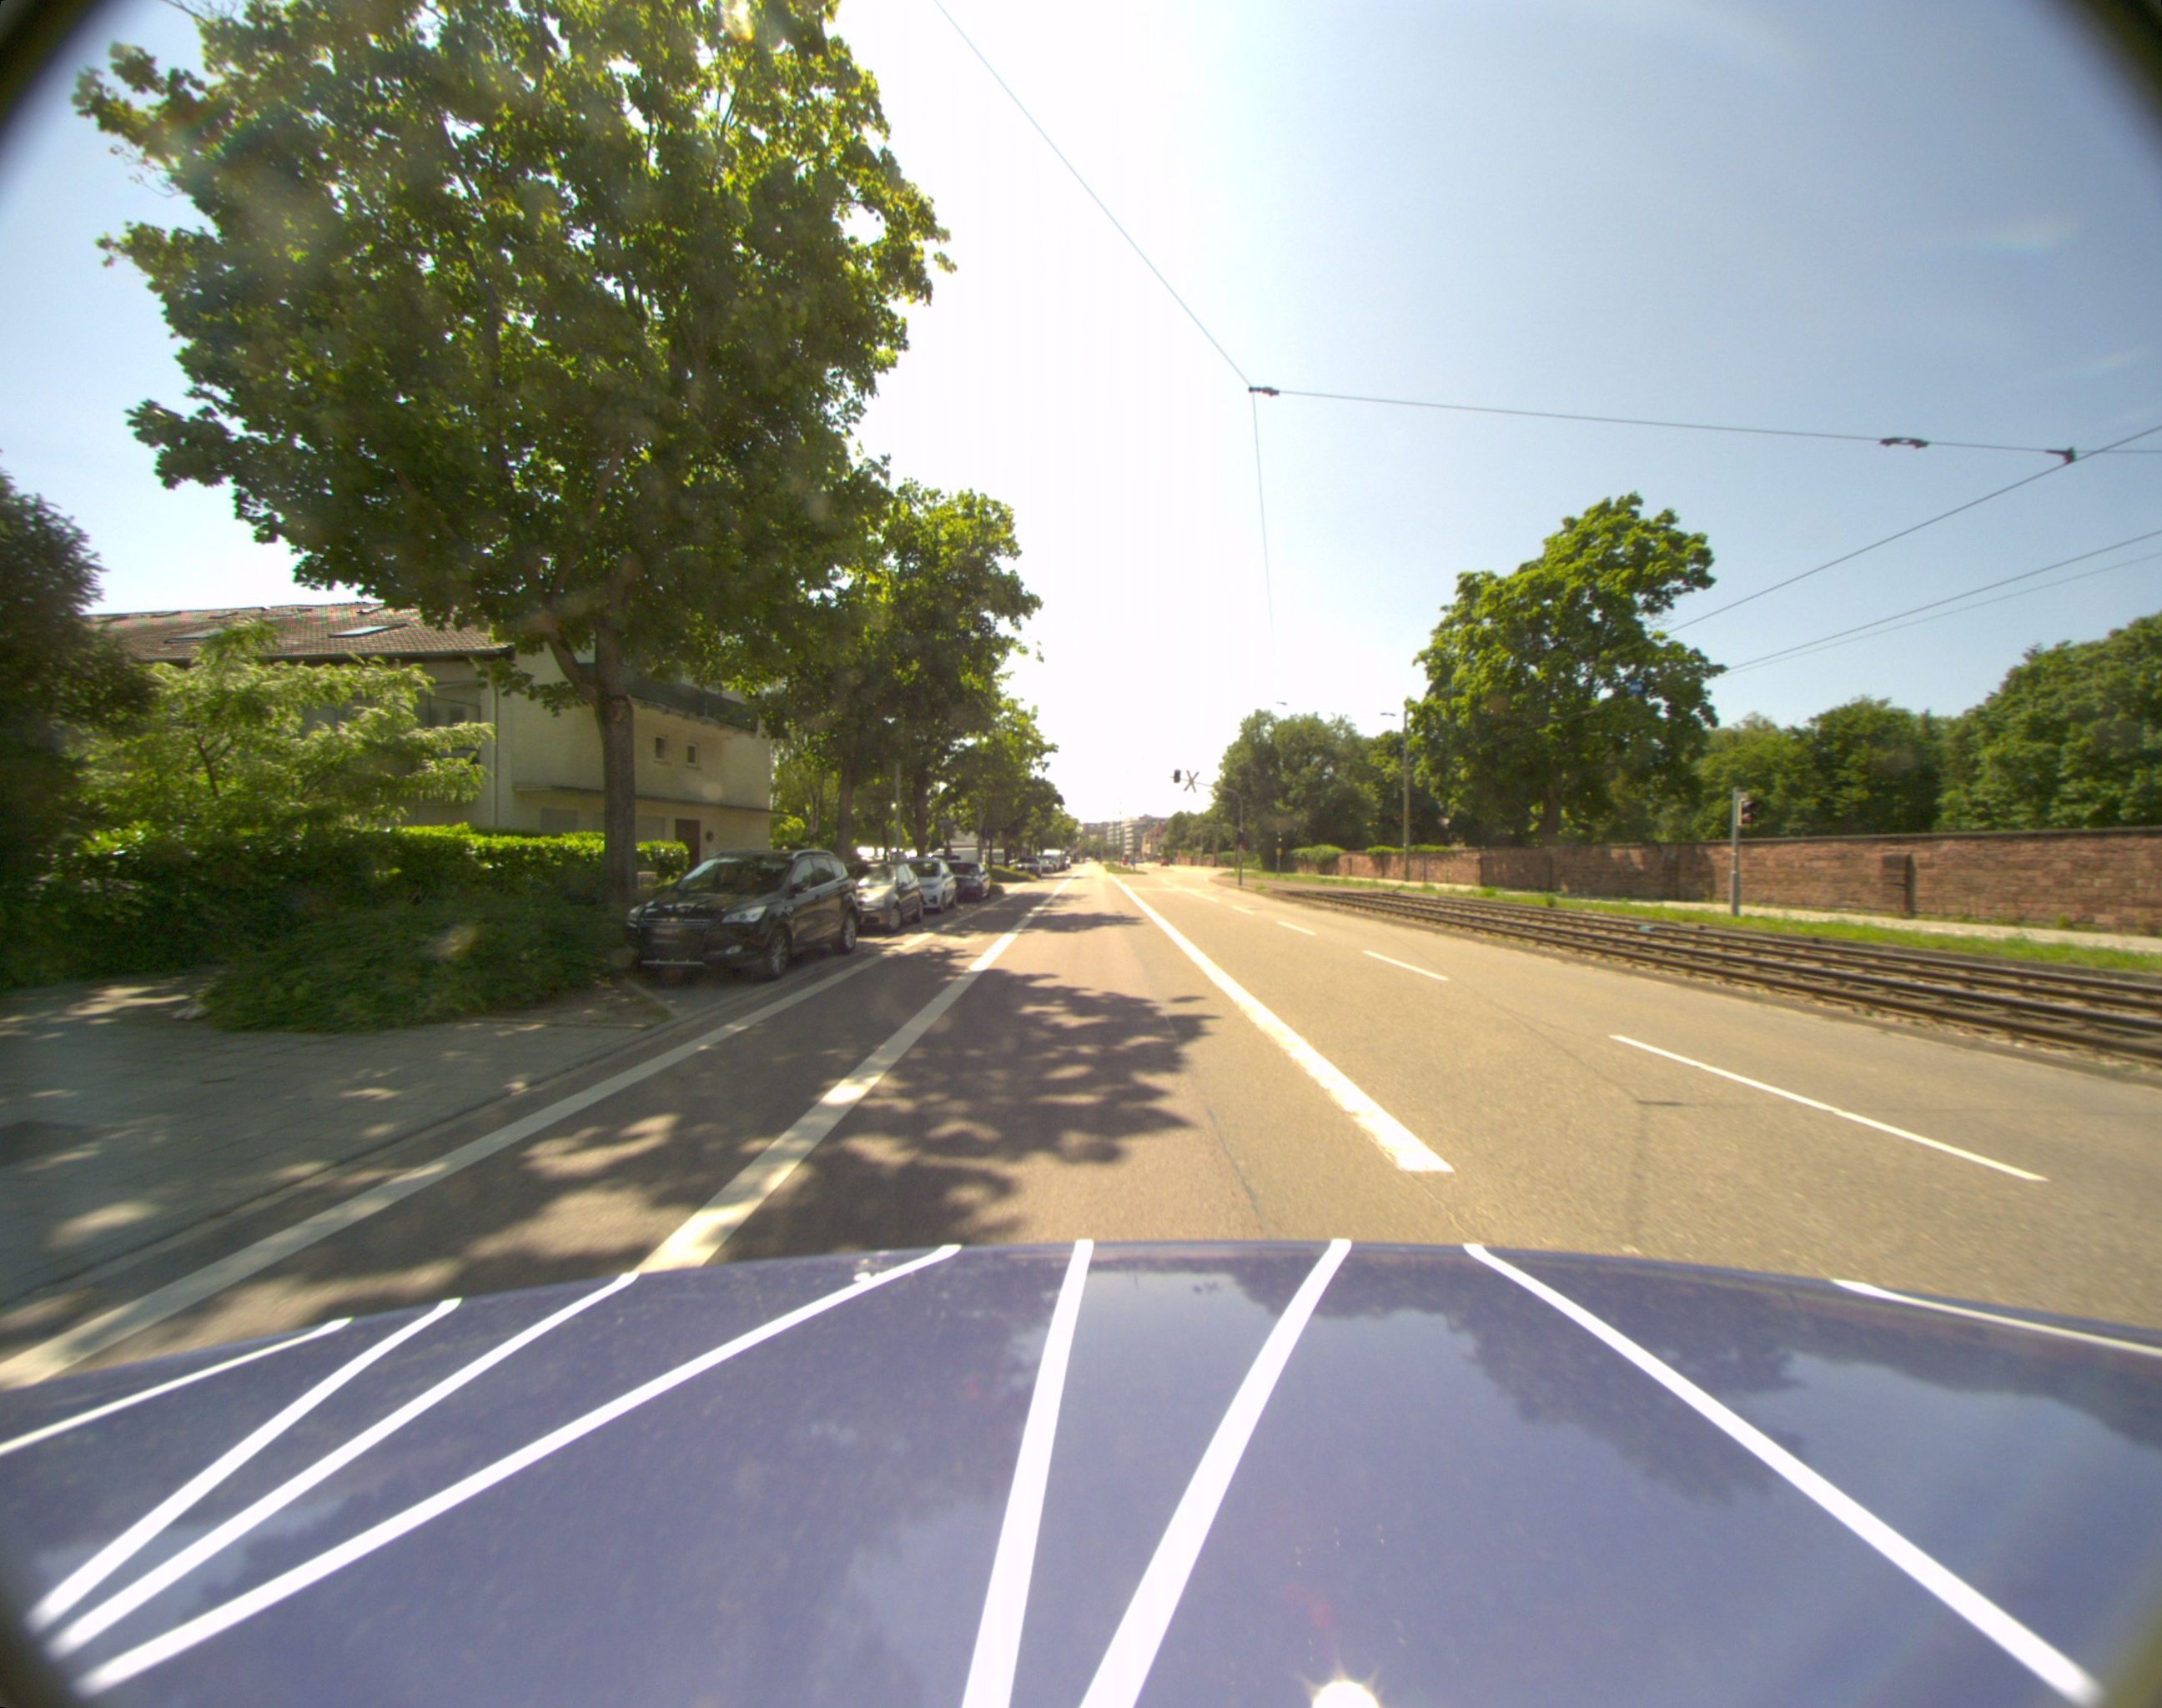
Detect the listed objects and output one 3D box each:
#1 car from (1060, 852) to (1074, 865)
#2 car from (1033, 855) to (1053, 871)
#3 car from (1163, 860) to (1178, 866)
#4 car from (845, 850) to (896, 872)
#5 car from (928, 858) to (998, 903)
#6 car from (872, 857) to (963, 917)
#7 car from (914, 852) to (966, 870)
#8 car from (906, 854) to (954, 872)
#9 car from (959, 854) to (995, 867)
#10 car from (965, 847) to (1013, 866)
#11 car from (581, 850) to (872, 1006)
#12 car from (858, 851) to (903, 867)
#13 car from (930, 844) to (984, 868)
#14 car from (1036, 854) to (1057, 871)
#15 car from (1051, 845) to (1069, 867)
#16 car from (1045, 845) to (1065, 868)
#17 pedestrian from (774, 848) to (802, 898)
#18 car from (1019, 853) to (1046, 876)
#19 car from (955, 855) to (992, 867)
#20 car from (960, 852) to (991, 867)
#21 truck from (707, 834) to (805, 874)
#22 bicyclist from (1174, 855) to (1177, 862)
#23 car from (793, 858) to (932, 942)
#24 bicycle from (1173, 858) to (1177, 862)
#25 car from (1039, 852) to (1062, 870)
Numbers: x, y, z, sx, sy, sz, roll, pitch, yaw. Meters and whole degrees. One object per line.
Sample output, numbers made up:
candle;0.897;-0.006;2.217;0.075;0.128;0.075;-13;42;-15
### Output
car;-2.176;0.759;119.557;1.884;1.905;5.125;3;0;2
car;-3.591;0.860;72.267;1.716;1.410;4.708;3;0;-1
car;19.334;1.931;163.822;1.707;1.405;4.290;0;0;30
car;-25.612;0.801;92.629;5.503;2.445;2.095;2;0;2
car;-4.297;0.934;28.374;1.845;1.427;4.824;3;0;-1
car;-4.712;0.899;22.494;1.845;1.520;4.205;3;0;-2
car;-13.878;0.666;75.138;4.703;1.635;1.954;-2;0;2
car;-13.824;0.788;69.569;4.031;1.482;1.770;-2;0;-1
car;-13.659;0.881;99.640;4.418;1.496;1.954;-2;0;-2
car;-12.972;0.319;107.616;6.355;2.514;2.264;-2;0;4
car;-4.706;0.856;11.026;1.845;1.696;4.627;3;0;2
car;-25.740;0.614;97.651;5.108;1.865;2.095;2;0;2
car;-13.513;0.256;82.965;5.503;2.445;2.095;-2;0;2
car;-3.479;0.843;77.401;1.716;1.532;3.841;3;0;3
car;-2.633;0.268;96.792;2.002;2.621;6.079;3;0;1
car;-3.025;0.289;90.048;2.002;2.621;6.143;3;0;1
pedestrian;-10.322;0.663;26.766;0.749;1.712;0.632;0;1;-5
car;-3.817;0.776;60.207;1.716;1.623;4.708;3;1;1
car;-13.270;0.869;93.904;4.287;1.397;1.727;-2;0;-1
car;-13.434;0.704;97.041;3.790;1.773;1.954;-2;0;-3
truck;-26.849;0.011;62.994;6.964;3.067;2.424;2;0;0
bicyclist;22.987;1.082;185.251;0.654;1.488;0.662;0;0;-1
car;-4.654;0.906;16.881;1.845;1.520;4.352;3;0;-1
bicycle;22.985;1.446;185.226;0.654;0.951;2.114;0;0;0
car;-3.266;0.745;83.115;2.002;1.867;5.277;3;0;3
